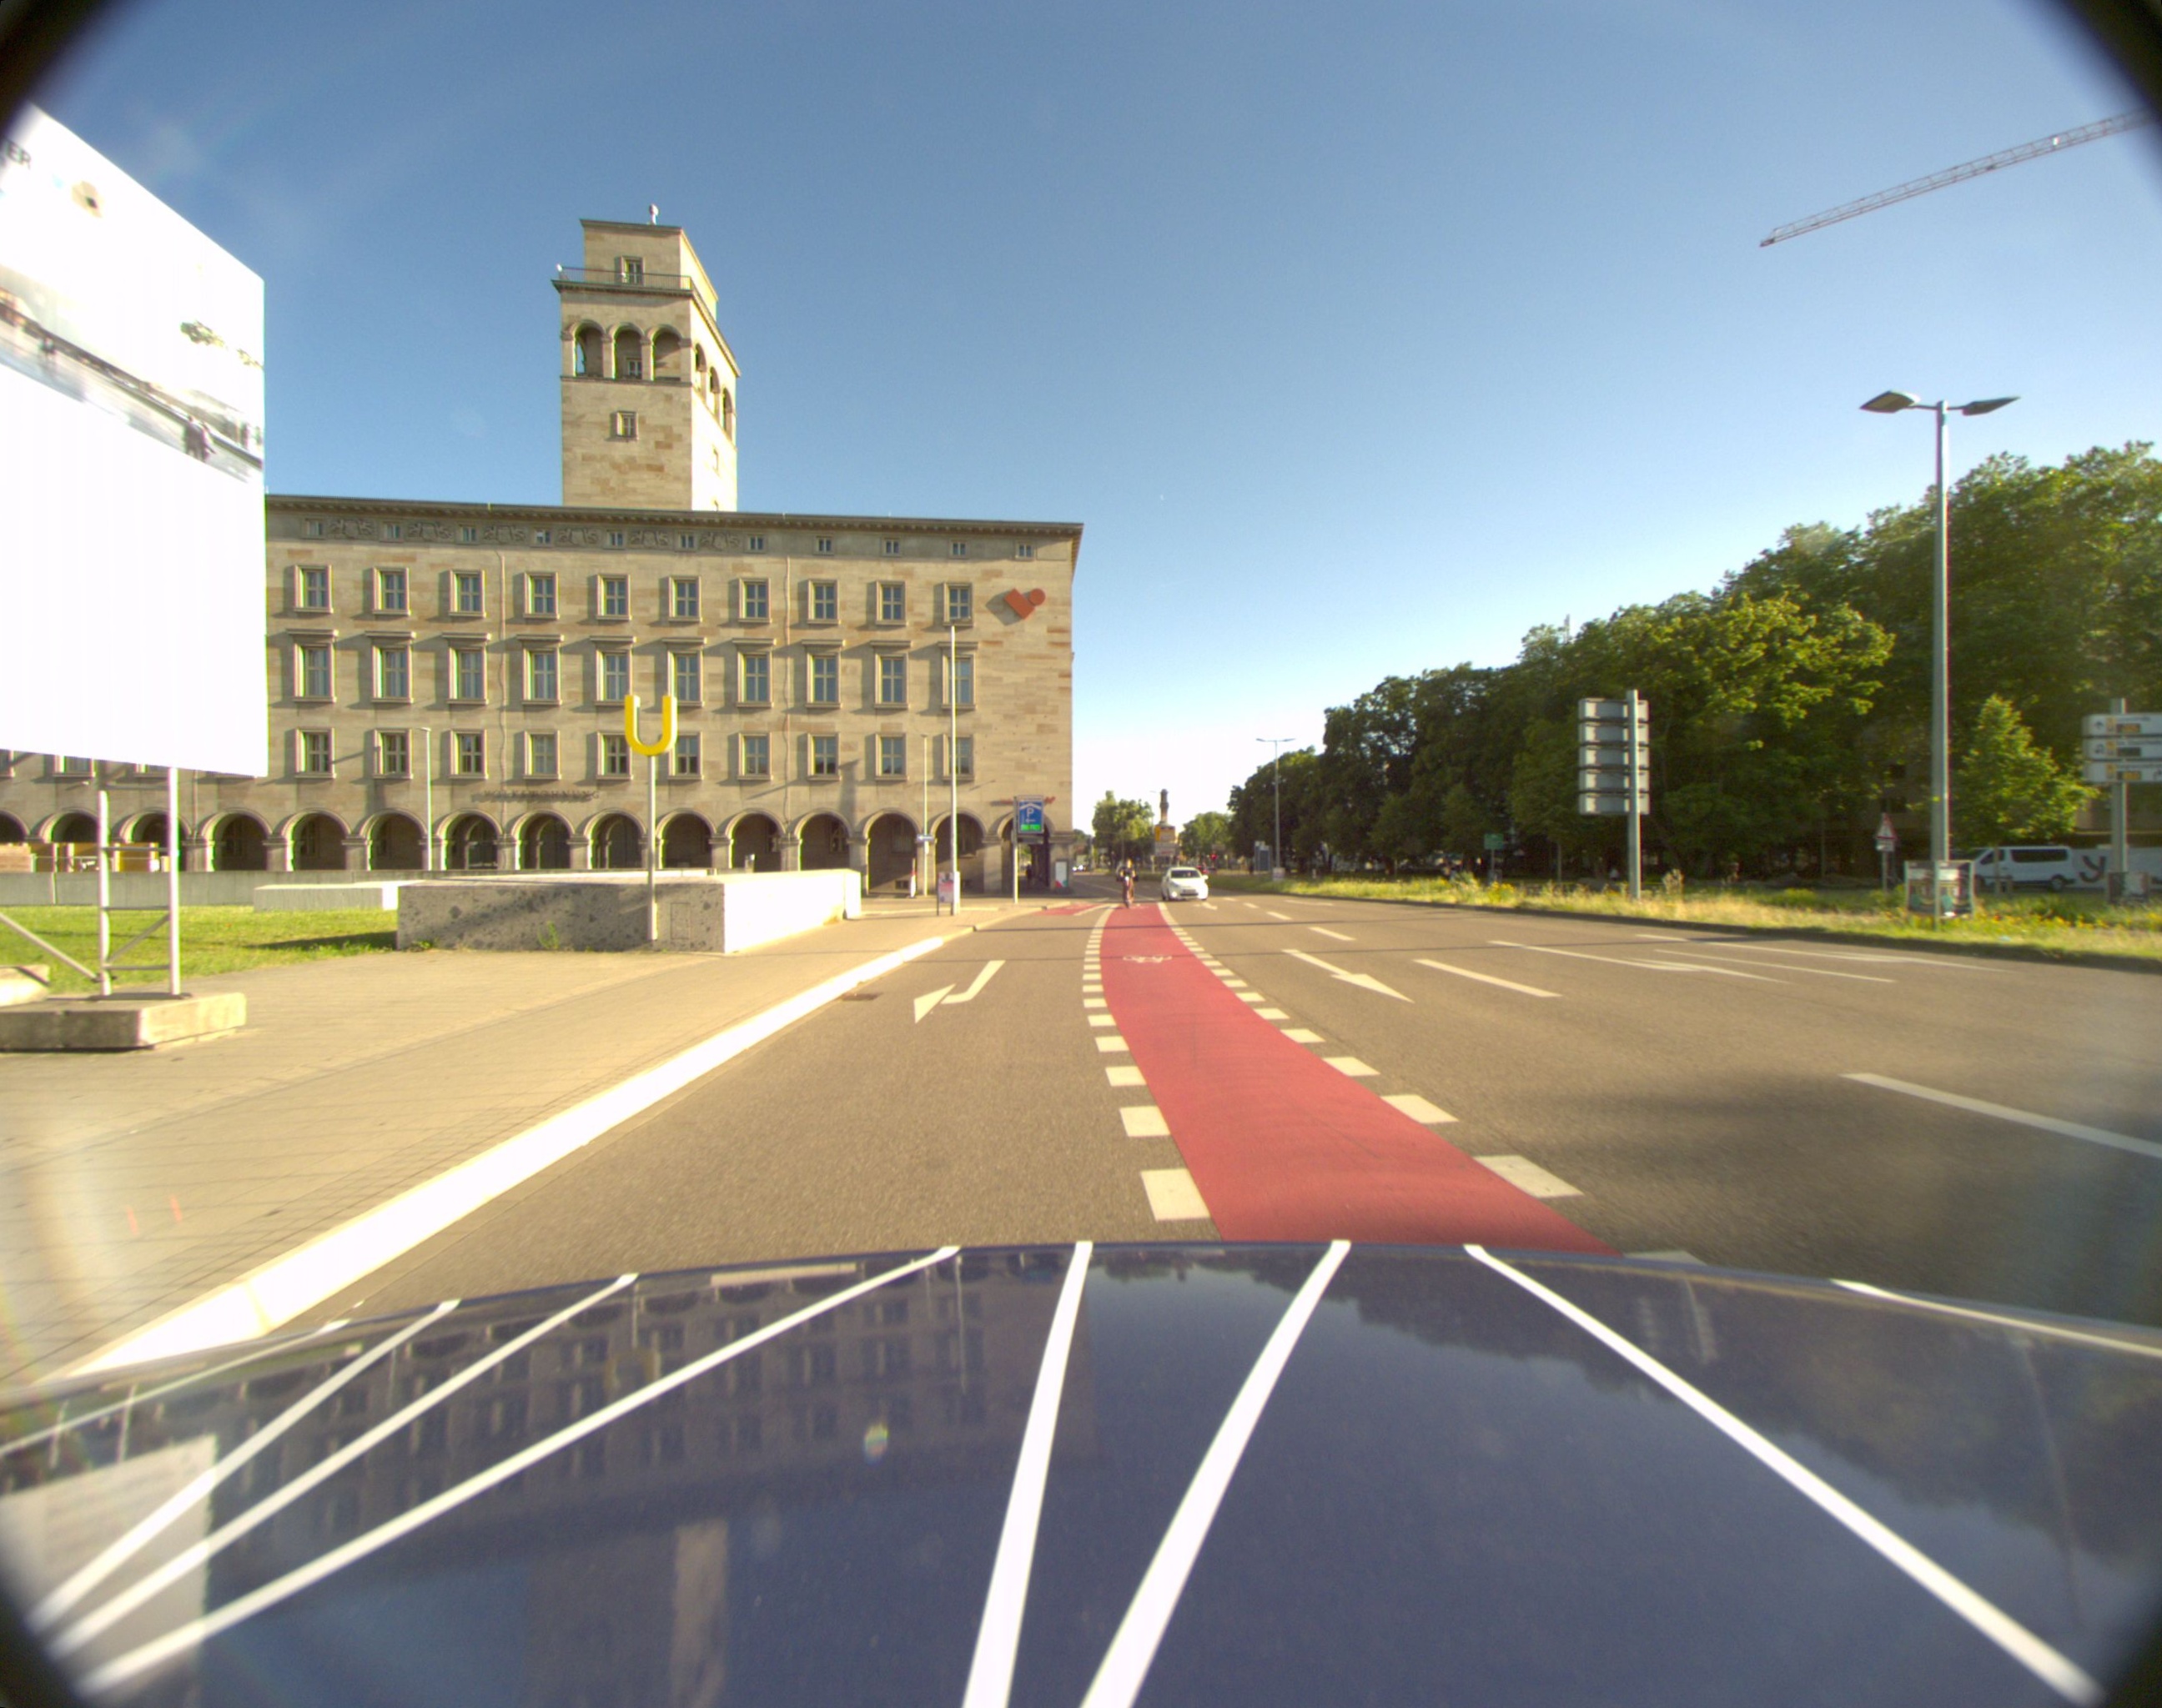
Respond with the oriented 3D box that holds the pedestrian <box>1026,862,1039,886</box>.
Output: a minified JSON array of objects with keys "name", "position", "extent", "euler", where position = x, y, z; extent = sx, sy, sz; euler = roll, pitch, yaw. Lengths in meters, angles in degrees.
[{"name":"pedestrian","position":[-3.181,1.301,49.891],"extent":[0.778,1.560,0.952],"euler":[0,-1,-6]}]

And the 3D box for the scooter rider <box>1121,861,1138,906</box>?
[{"name":"scooter rider","position":[1.738,1.047,27.238],"extent":[0.562,1.622,0.650],"euler":[0,0,5]}]

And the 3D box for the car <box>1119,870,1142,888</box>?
[{"name":"car","position":[4.825,2.482,75.055],"extent":[1.734,1.629,3.999],"euler":[-2,0,-3]}]

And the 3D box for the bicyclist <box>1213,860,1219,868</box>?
[{"name":"bicyclist","position":[24.968,1.851,140.262],"extent":[0.972,1.354,0.827],"euler":[0,0,3]}]

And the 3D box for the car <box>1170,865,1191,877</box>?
[{"name":"car","position":[13.772,2.320,105.686],"extent":[1.999,1.551,4.548],"euler":[0,0,-4]}]

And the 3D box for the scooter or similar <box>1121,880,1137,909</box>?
[{"name":"scooter or similar","position":[1.742,1.455,27.430],"extent":[0.556,1.025,1.118],"euler":[0,0,4]}]

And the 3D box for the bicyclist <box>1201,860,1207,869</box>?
[{"name":"bicyclist","position":[21.771,1.914,134.680],"extent":[0.850,1.609,0.974],"euler":[0,0,25]}]

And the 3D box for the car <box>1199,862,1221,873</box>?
[{"name":"car","position":[18.080,1.831,106.618],"extent":[1.939,1.517,4.586],"euler":[0,0,-4]}]

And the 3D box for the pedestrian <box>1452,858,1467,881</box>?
[{"name":"pedestrian","position":[28.767,1.155,57.759],"extent":[0.773,1.730,0.761],"euler":[0,0,-1]}]

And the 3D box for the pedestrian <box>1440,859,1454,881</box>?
[{"name":"pedestrian","position":[27.808,1.228,57.703],"extent":[0.744,1.631,0.726],"euler":[0,0,-1]}]

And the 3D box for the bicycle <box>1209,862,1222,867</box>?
[{"name":"bicycle","position":[24.887,1.975,140.249],"extent":[2.333,0.846,0.843],"euler":[0,0,4]}]

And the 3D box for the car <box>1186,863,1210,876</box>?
[{"name":"car","position":[14.344,1.898,93.309],"extent":[1.999,1.555,4.059],"euler":[0,0,-4]}]

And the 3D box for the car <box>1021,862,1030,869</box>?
[{"name":"car","position":[-12.758,2.639,174.447],"extent":[1.999,1.564,4.547],"euler":[0,0,-4]}]

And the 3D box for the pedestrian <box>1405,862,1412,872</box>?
[{"name":"pedestrian","position":[45.342,1.769,105.213],"extent":[0.733,1.332,0.599],"euler":[0,0,-2]}]

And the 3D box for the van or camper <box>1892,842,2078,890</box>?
[{"name":"van or camper","position":[39.566,0.517,33.363],"extent":[5.679,2.002,2.256],"euler":[0,1,-3]}]

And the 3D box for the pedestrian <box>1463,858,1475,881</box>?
[{"name":"pedestrian","position":[29.470,1.146,57.739],"extent":[0.525,1.730,0.655],"euler":[0,0,-1]}]

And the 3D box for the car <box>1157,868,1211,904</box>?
[{"name":"car","position":[4.526,1.383,33.845],"extent":[1.679,1.455,3.764],"euler":[-1,0,-3]}]

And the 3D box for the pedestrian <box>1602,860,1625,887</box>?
[{"name":"pedestrian","position":[30.267,1.118,43.188],"extent":[0.614,1.518,0.942],"euler":[0,-1,1]}]

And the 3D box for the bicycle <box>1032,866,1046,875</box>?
[{"name":"bicycle","position":[-5.460,2.179,99.250],"extent":[1.708,1.126,0.666],"euler":[1,0,36]}]

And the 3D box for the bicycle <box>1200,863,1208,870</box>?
[{"name":"bicycle","position":[21.793,2.201,134.717],"extent":[0.844,1.223,2.018],"euler":[0,0,25]}]

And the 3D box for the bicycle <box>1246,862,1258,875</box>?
[{"name":"bicycle","position":[18.115,1.519,80.560],"extent":[0.759,1.268,2.258],"euler":[0,1,1]}]

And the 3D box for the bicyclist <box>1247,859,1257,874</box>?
[{"name":"bicyclist","position":[18.107,1.304,80.515],"extent":[0.749,1.581,1.202],"euler":[0,2,1]}]
